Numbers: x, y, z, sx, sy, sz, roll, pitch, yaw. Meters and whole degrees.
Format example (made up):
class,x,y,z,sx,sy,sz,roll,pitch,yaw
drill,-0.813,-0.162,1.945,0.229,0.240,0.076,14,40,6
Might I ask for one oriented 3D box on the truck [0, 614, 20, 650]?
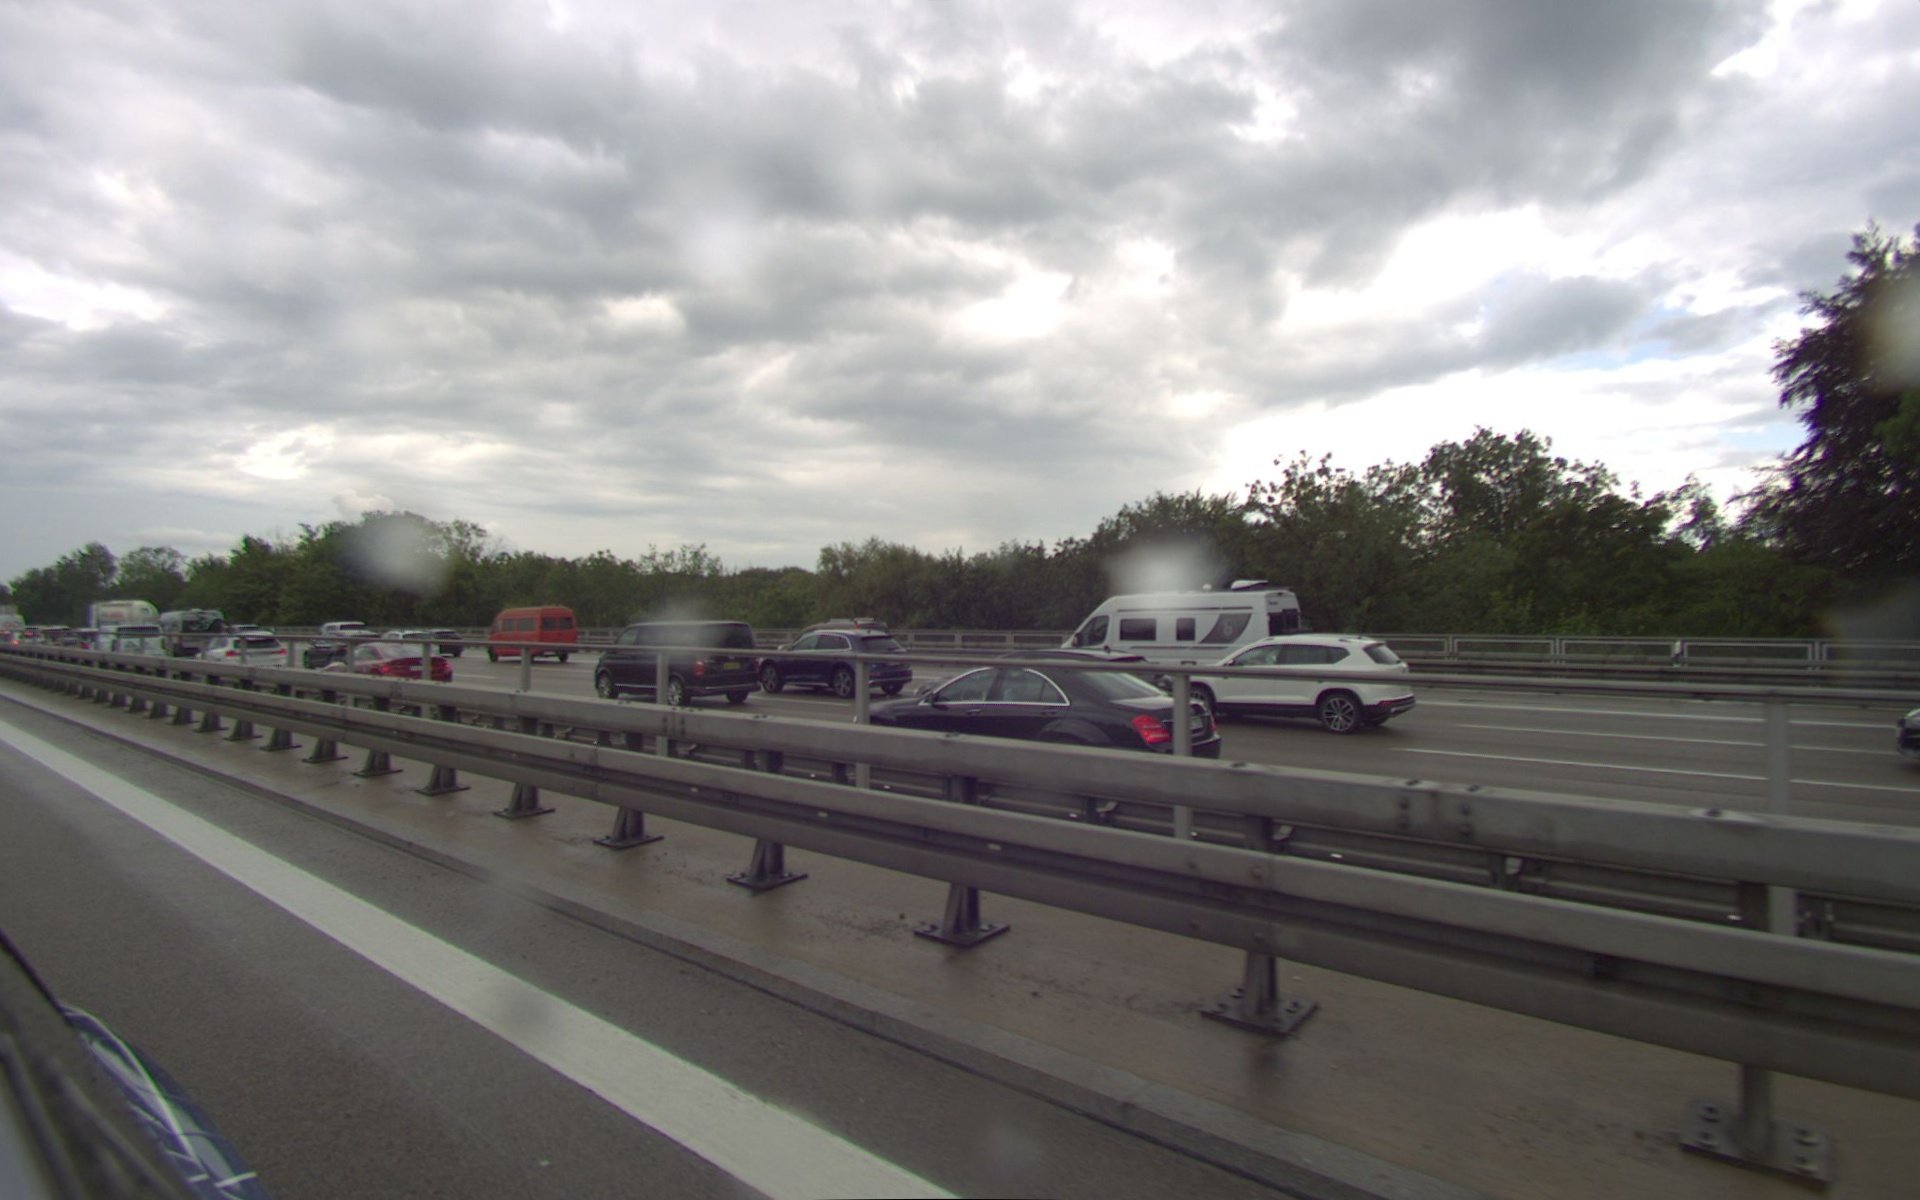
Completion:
class,x,y,z,sx,sy,sz,roll,pitch,yaw
truck,-116.695,3.890,122.275,10.859,4.325,3.225,-2,-3,40

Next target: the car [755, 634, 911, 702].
class,x,y,z,sx,sy,sz,roll,pitch,yaw
car,-3.268,1.653,25.709,3.995,1.591,1.660,-1,-2,39

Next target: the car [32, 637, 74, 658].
class,x,y,z,sx,sy,sz,roll,pitch,yaw
car,-72.708,3.788,81.093,4.414,1.660,1.814,-2,-3,39

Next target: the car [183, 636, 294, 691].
class,x,y,z,sx,sy,sz,roll,pitch,yaw
car,-24.266,2.079,33.952,5.355,1.688,1.806,-2,-3,41

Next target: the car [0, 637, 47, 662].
class,x,y,z,sx,sy,sz,roll,pitch,yaw
car,-58.922,3.065,63.362,5.919,1.486,1.813,-2,-3,40

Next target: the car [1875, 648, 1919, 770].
class,x,y,z,sx,sy,sz,roll,pitch,yaw
car,13.276,1.297,11.593,3.995,1.429,1.617,-1,-2,39

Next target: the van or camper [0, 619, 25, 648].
class,x,y,z,sx,sy,sz,roll,pitch,yaw
van or camper,-89.518,3.110,94.682,7.452,2.624,2.013,-1,-2,40

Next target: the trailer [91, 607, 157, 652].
class,x,y,z,sx,sy,sz,roll,pitch,yaw
trailer,-79.456,2.849,96.088,13.208,3.988,2.437,-2,-3,40

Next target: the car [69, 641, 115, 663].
class,x,y,z,sx,sy,sz,roll,pitch,yaw
car,-61.338,3.660,71.480,4.573,1.486,1.813,-2,-3,41

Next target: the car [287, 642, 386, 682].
class,x,y,z,sx,sy,sz,roll,pitch,yaw
car,-24.034,2.342,38.945,5.010,1.420,1.660,-1,-2,39

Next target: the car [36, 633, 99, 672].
class,x,y,z,sx,sy,sz,roll,pitch,yaw
car,-47.810,2.782,54.182,4.722,1.964,1.928,-2,-3,41

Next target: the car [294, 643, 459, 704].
class,x,y,z,sx,sy,sz,roll,pitch,yaw
car,-15.028,1.812,25.931,5.359,1.403,1.855,-2,-2,39

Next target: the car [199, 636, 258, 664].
class,x,y,z,sx,sy,sz,roll,pitch,yaw
car,-46.096,3.128,63.743,5.061,1.722,1.813,-2,-3,40

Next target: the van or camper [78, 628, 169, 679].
class,x,y,z,sx,sy,sz,roll,pitch,yaw
van or camper,-36.641,2.287,44.290,5.636,2.084,1.964,-2,-3,39

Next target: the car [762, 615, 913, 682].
class,x,y,z,sx,sy,sz,roll,pitch,yaw
car,-3.936,1.501,32.203,4.754,1.960,2.056,-1,-2,39

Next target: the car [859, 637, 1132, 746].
class,x,y,z,sx,sy,sz,roll,pitch,yaw
car,0.518,1.457,17.286,4.458,1.625,1.845,-2,-3,39

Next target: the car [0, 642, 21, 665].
class,x,y,z,sx,sy,sz,roll,pitch,yaw
car,-66.677,3.673,70.049,5.068,1.526,1.932,-2,-3,41

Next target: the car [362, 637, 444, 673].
class,x,y,z,sx,sy,sz,roll,pitch,yaw
car,-24.459,2.379,44.376,3.995,1.512,1.773,-1,-2,39

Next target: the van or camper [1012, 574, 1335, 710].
class,x,y,z,sx,sy,sz,roll,pitch,yaw
van or camper,4.782,0.969,23.785,7.223,2.786,2.180,-2,-3,39

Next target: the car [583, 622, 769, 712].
class,x,y,z,sx,sy,sz,roll,pitch,yaw
car,-6.829,1.510,24.033,5.000,1.916,1.872,-2,-2,42

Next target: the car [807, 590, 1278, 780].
class,x,y,z,sx,sy,sz,roll,pitch,yaw
car,0.754,0.915,12.365,5.702,1.840,1.847,-2,-3,39

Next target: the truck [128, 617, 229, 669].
class,x,y,z,sx,sy,sz,roll,pitch,yaw
truck,-41.841,2.281,54.067,8.743,2.622,2.126,-2,-2,38

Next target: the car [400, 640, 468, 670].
class,x,y,z,sx,sy,sz,roll,pitch,yaw
car,-27.518,2.831,52.856,4.607,1.486,1.470,-2,-3,40

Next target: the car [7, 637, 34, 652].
class,x,y,z,sx,sy,sz,roll,pitch,yaw
car,-99.781,4.714,107.435,3.996,1.628,1.603,-2,-3,40

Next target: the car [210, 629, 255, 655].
class,x,y,z,sx,sy,sz,roll,pitch,yaw
car,-52.280,3.003,72.695,3.997,1.844,1.703,-1,-2,41

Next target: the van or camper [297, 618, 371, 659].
class,x,y,z,sx,sy,sz,roll,pitch,yaw
van or camper,-37.836,2.285,61.090,5.929,2.347,2.025,-1,-2,40

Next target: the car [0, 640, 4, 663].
class,x,y,z,sx,sy,sz,roll,pitch,yaw
car,-73.082,3.841,75.711,4.924,1.640,1.771,-2,-3,41

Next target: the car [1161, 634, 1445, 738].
class,x,y,z,sx,sy,sz,roll,pitch,yaw
car,5.984,1.412,17.950,4.458,1.625,1.710,-1,-2,39

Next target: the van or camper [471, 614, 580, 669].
class,x,y,z,sx,sy,sz,roll,pitch,yaw
van or camper,-19.589,1.908,45.477,6.228,2.322,1.920,-3,-3,40

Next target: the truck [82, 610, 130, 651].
class,x,y,z,sx,sy,sz,roll,pitch,yaw
truck,-85.004,3.037,100.710,6.976,3.995,2.437,-2,-3,40

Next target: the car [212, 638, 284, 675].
class,x,y,z,sx,sy,sz,roll,pitch,yaw
car,-32.837,2.564,46.634,3.995,1.648,1.660,-2,-3,39
